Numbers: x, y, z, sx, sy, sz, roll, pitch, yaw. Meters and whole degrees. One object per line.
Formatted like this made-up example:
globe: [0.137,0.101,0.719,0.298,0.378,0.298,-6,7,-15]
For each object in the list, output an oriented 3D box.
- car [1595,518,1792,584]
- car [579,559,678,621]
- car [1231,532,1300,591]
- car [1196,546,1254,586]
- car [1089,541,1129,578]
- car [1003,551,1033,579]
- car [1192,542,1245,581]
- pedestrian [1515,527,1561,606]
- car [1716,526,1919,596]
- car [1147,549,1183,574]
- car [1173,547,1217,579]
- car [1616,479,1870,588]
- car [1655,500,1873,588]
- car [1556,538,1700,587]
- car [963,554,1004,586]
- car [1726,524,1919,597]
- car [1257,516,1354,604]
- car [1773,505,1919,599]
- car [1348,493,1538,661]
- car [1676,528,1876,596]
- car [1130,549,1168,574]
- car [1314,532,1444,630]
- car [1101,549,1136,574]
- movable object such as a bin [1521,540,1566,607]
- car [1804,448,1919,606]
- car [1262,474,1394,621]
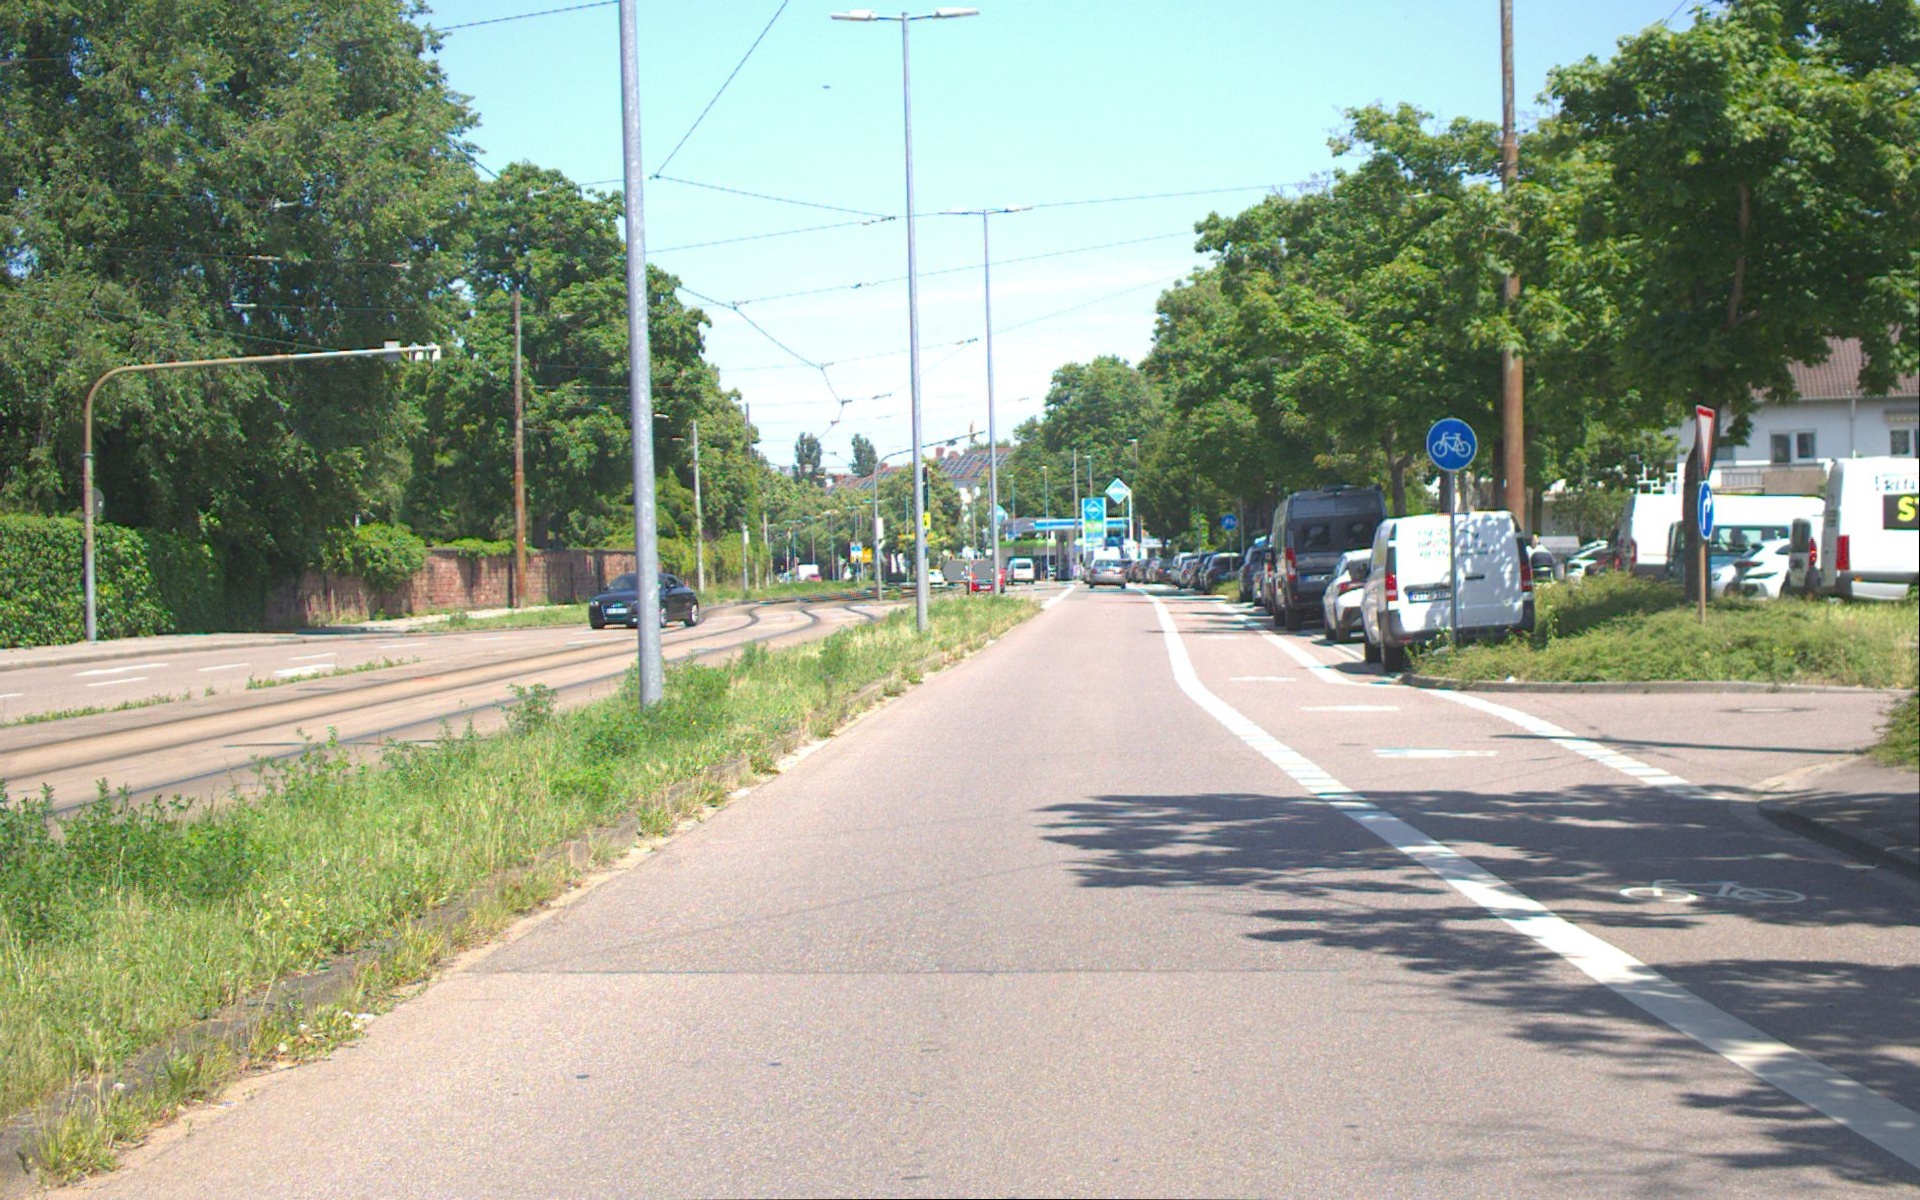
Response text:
car: [18.850,-1.261,88.452,4.693,1.638,1.954,1,1,4]
car: [-8.073,-0.259,84.004,1.756,1.444,4.122,0,1,4]
car: [9.161,-1.142,103.375,1.712,1.627,4.708,-4,0,2]
car: [10.384,-1.348,134.990,1.841,1.431,4.824,-4,1,1]
car: [7.247,-1.981,167.180,1.756,1.625,4.323,-4,1,4]
car: [4.380,-2.644,260.677,1.993,2.007,4.000,1,0,-2]
car: [11.023,-1.634,146.936,1.840,1.524,4.353,-4,1,0]
pedestrian: [12.096,-0.701,71.973,0.805,1.619,0.943,-1,1,3]
car: [18.051,-0.816,72.303,3.886,1.401,1.728,1,1,0]
car: [12.958,-2.439,217.500,1.707,1.487,5.039,-4,1,-2]
car: [12.249,-1.935,179.476,1.840,1.524,4.966,-4,1,0]
car: [18.289,-1.559,80.516,5.491,2.451,2.094,1,1,4]
car: [18.097,-1.252,77.531,4.405,1.902,1.954,1,1,-2]
car: [19.246,-1.095,99.124,3.860,1.353,1.770,1,1,4]
car: [1.074,-1.383,156.086,1.706,1.409,4.281,-1,1,2]
car: [17.807,-0.792,69.453,4.276,1.401,1.728,1,1,0]
car: [8.082,-0.950,80.799,1.998,1.872,5.275,-4,1,4]
car: [17.896,-0.922,66.570,3.779,1.778,1.954,1,1,-2]
car: [6.137,-0.324,44.196,1.879,1.910,5.124,-4,1,3]
car: [17.703,-0.827,74.646,3.886,1.401,1.728,1,1,-2]
car: [12.535,-2.560,228.714,1.706,1.557,4.325,-4,1,-7]
car: [6.778,-0.324,55.934,1.722,1.423,4.209,-3,1,3]
car: [11.258,-2.728,244.684,1.755,1.625,4.325,-4,1,-7]
movable object such as a bin: [12.054,-0.549,71.056,0.792,1.348,0.889,-1,1,3]
car: [17.193,-1.149,56.132,6.342,2.520,2.263,1,1,6]
car: [7.137,-1.030,67.191,1.998,2.627,6.078,-4,1,2]
